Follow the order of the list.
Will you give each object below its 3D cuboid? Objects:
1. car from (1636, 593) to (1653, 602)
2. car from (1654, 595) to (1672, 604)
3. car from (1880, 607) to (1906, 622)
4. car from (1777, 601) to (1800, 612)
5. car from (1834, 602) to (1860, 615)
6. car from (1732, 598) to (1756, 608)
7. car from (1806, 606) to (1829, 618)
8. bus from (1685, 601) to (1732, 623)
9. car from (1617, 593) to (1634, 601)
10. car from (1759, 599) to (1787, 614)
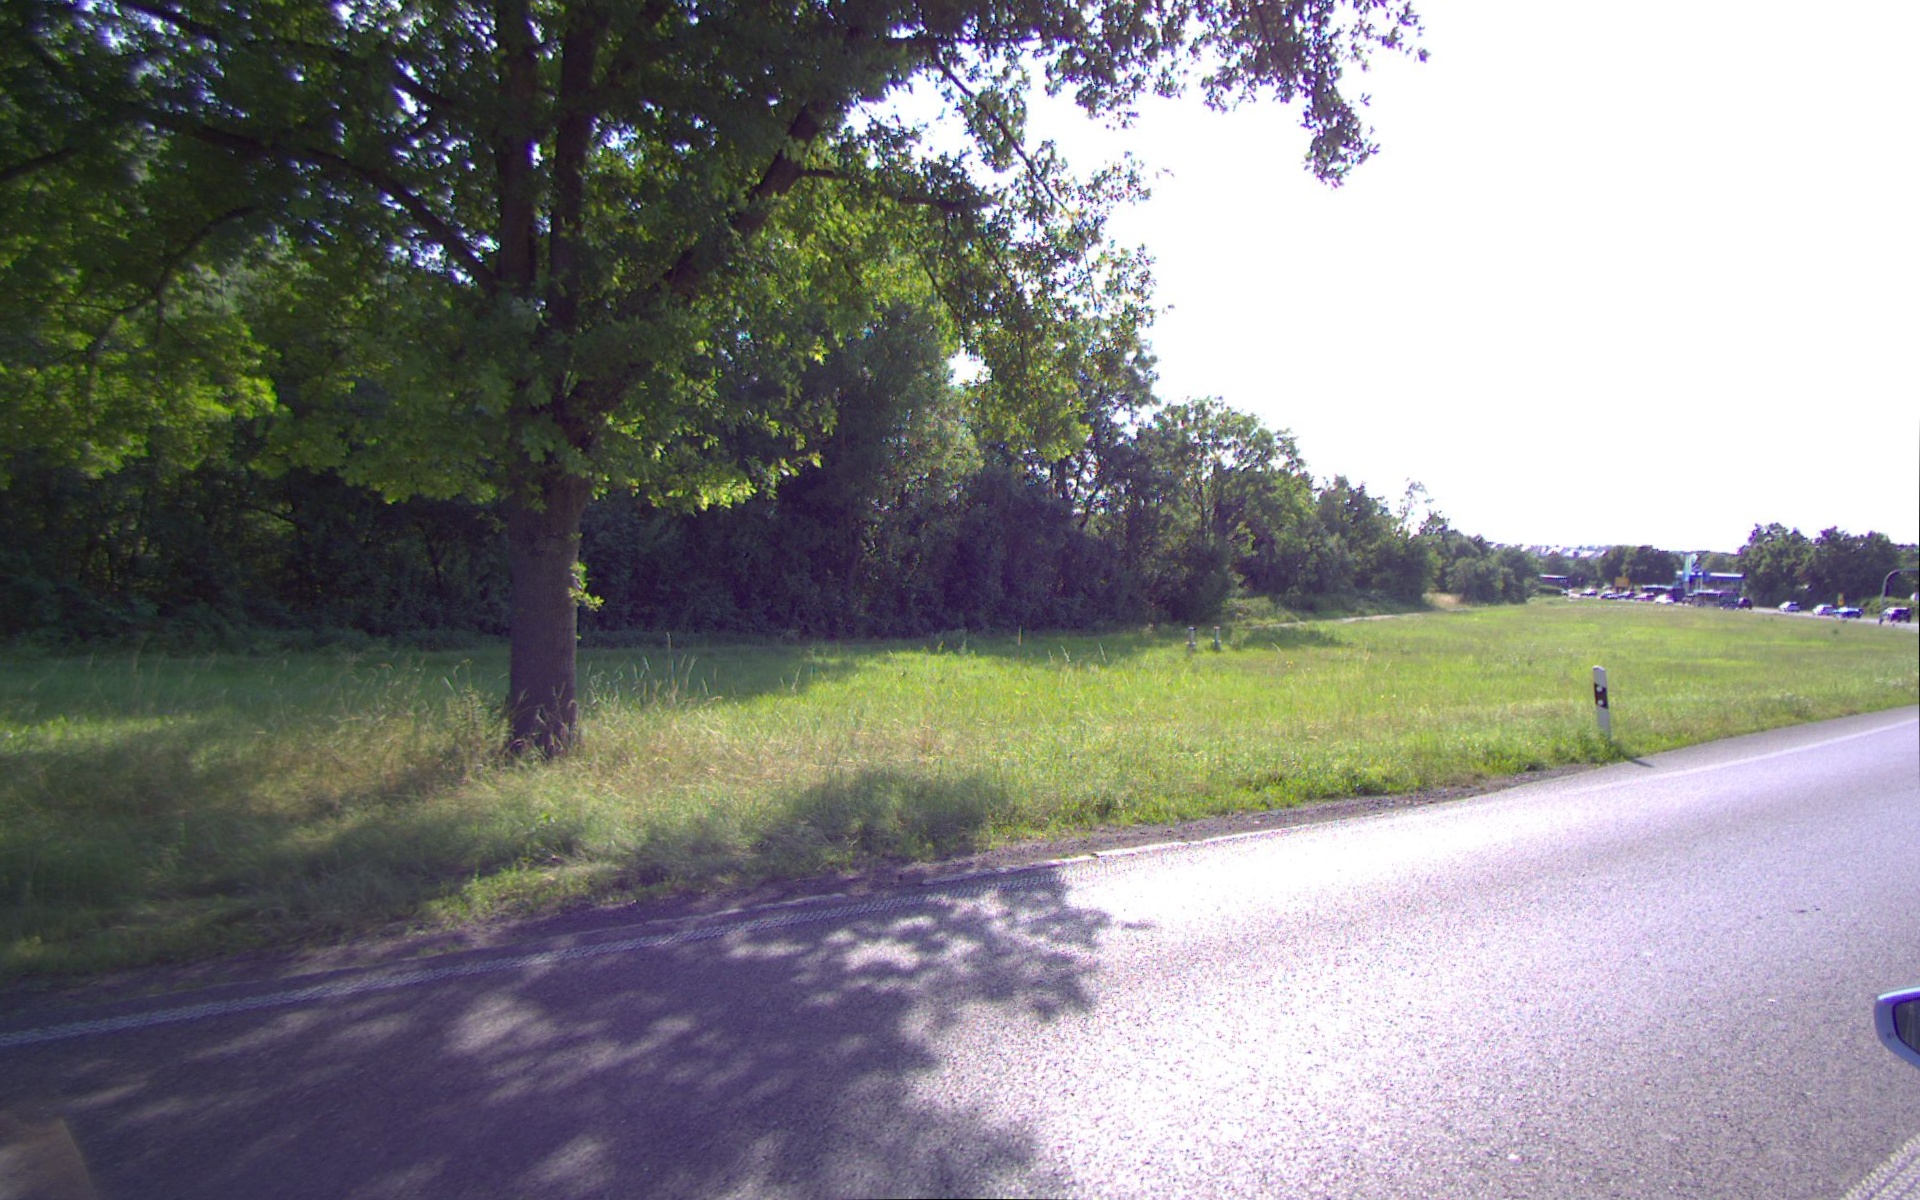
[{"bbox_3d":[138.618,-0.530,203.397,1.851,1.621,3.999,2,1,20],"label":"car"},{"bbox_3d":[137.405,-0.163,196.432,2.052,1.621,3.997,2,1,23],"label":"car"},{"bbox_3d":[110.019,1.750,118.433,1.498,1.678,3.863,2,0,32],"label":"car"},{"bbox_3d":[128.102,0.979,155.419,1.946,1.678,3.867,2,0,28],"label":"car"},{"bbox_3d":[115.992,1.139,131.430,1.653,1.579,3.867,2,0,28],"label":"car"},{"bbox_3d":[129.297,0.486,165.719,2.052,1.621,3.997,2,1,23],"label":"car"},{"bbox_3d":[121.260,1.689,142.102,1.653,1.579,3.867,2,0,28],"label":"car"},{"bbox_3d":[119.021,1.946,159.889,2.748,3.224,12.125,2,0,21],"label":"bus"},{"bbox_3d":[139.309,-0.684,210.197,1.850,1.621,4.001,2,1,16],"label":"car"},{"bbox_3d":[102.579,0.831,126.749,1.812,1.678,3.997,2,0,25],"label":"car"}]
